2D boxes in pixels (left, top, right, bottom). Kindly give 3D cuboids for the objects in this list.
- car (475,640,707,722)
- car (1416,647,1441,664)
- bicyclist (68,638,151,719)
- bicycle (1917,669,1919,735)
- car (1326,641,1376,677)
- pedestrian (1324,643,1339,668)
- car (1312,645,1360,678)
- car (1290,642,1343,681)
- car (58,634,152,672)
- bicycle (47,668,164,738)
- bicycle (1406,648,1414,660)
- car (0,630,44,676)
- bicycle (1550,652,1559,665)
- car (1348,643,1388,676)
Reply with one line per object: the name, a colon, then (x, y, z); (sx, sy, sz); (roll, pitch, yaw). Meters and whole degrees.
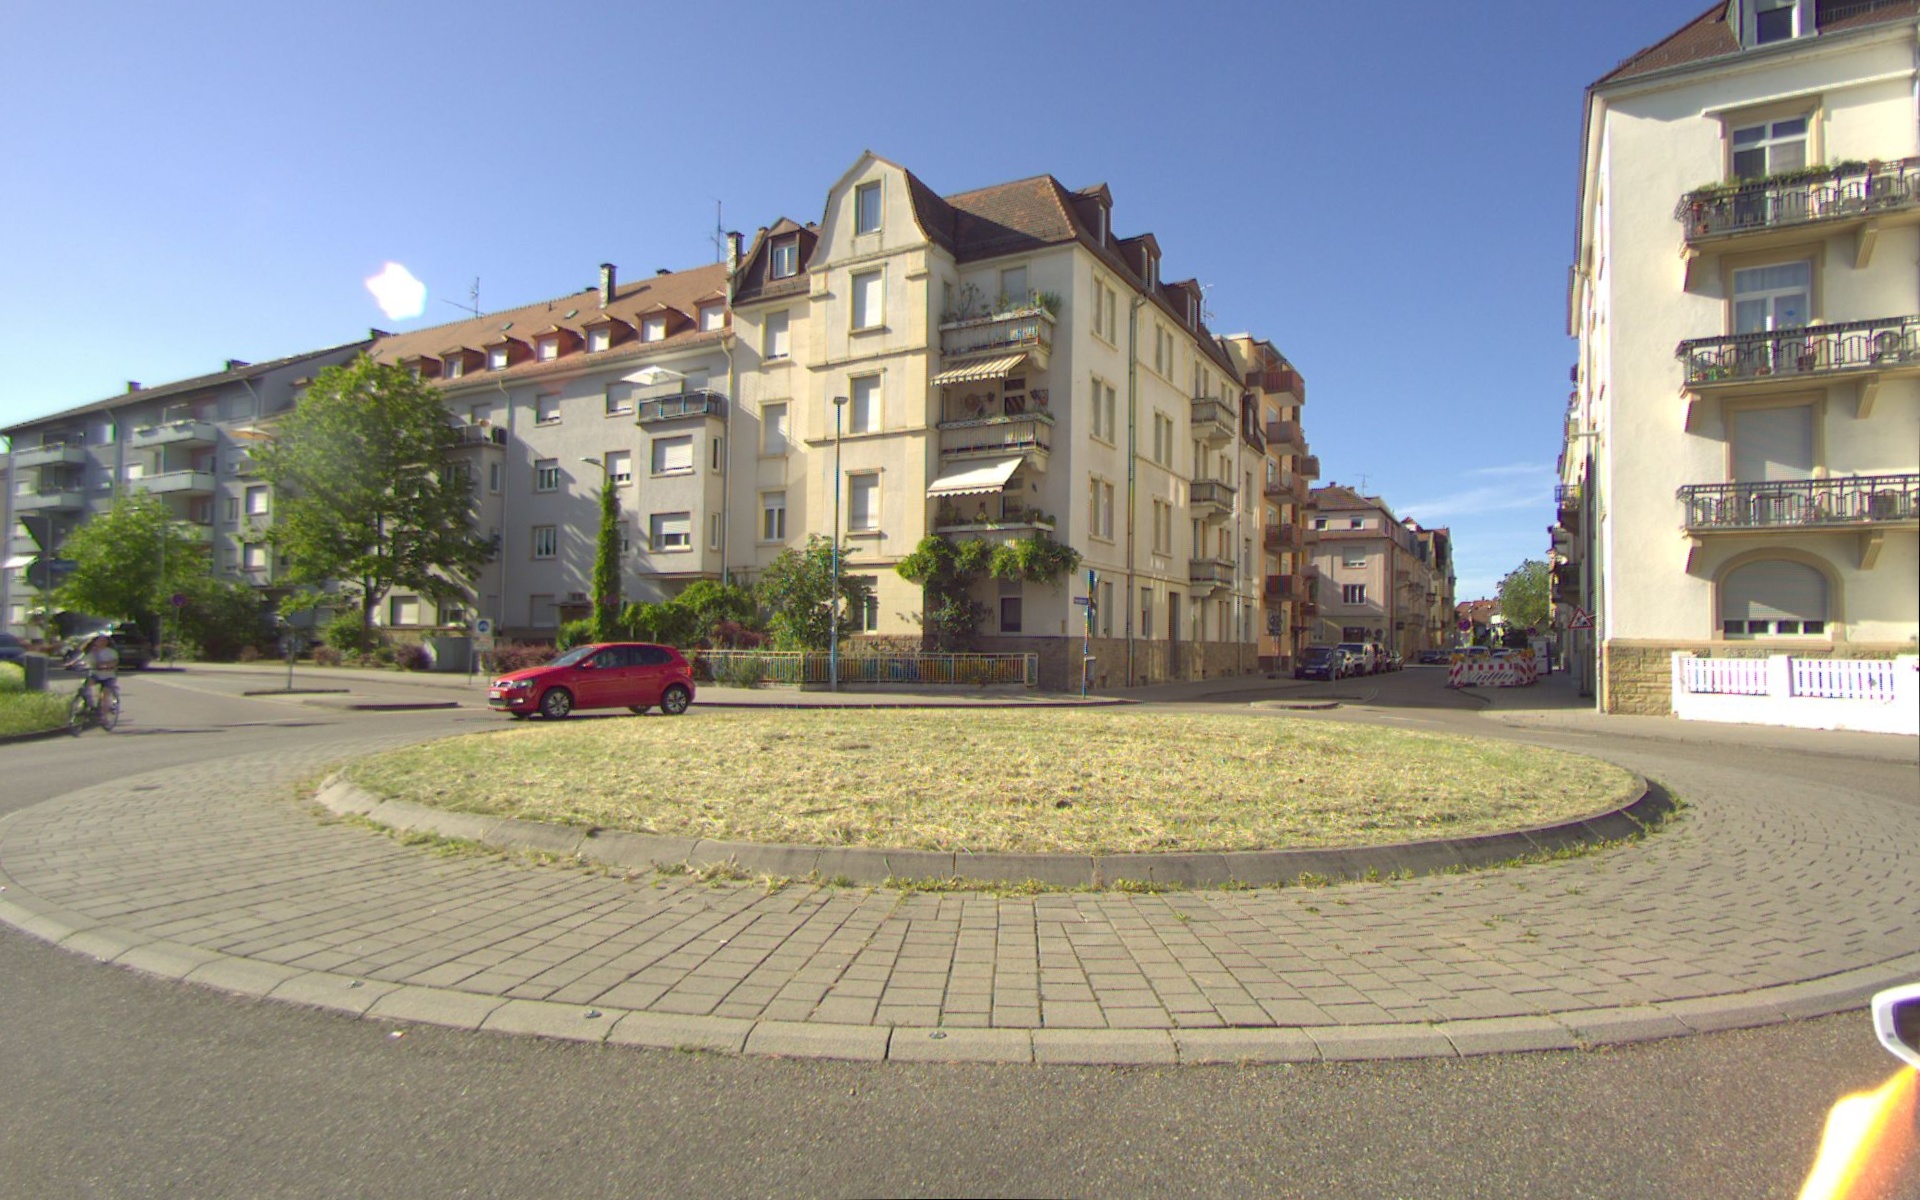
car: (-7.183, 1.523, 19.782); (3.973, 1.400, 1.695); (1, -3, -44)
car: (45.308, 5.382, 97.149); (1.656, 1.445, 4.265); (2, -2, 32)
bicyclist: (-14.531, 1.326, 17.195); (0.799, 1.329, 0.821); (2, -2, -22)
bicycle: (17.894, 1.811, 17.078); (0.754, 1.172, 2.278); (2, -2, -17)
car: (22.920, 3.396, 58.713); (1.946, 1.950, 5.300); (1, -2, 30)
pedestrian: (27.810, 4.122, 75.160); (0.909, 1.841, 0.994); (1, -2, 27)
car: (20.274, 3.290, 54.034); (1.737, 1.642, 4.287); (1, -2, 30)
car: (17.571, 2.985, 49.403); (1.737, 1.794, 4.287); (1, -2, 30)
car: (-36.715, 2.261, 43.119); (3.929, 1.559, 1.848); (-1, -3, 30)
bicycle: (-14.554, 1.733, 17.190); (0.799, 1.027, 2.200); (2, -2, -21)
bicycle: (50.460, 6.001, 112.584); (0.533, 1.318, 1.863); (1, -2, 31)
car: (-38.641, 2.081, 40.065); (4.197, 1.718, 1.877); (0, -2, 30)
bicycle: (58.974, 5.805, 99.597); (0.750, 1.263, 2.587); (0, -2, 30)
car: (26.125, 3.781, 64.270); (1.737, 1.950, 4.926); (1, -2, 30)
